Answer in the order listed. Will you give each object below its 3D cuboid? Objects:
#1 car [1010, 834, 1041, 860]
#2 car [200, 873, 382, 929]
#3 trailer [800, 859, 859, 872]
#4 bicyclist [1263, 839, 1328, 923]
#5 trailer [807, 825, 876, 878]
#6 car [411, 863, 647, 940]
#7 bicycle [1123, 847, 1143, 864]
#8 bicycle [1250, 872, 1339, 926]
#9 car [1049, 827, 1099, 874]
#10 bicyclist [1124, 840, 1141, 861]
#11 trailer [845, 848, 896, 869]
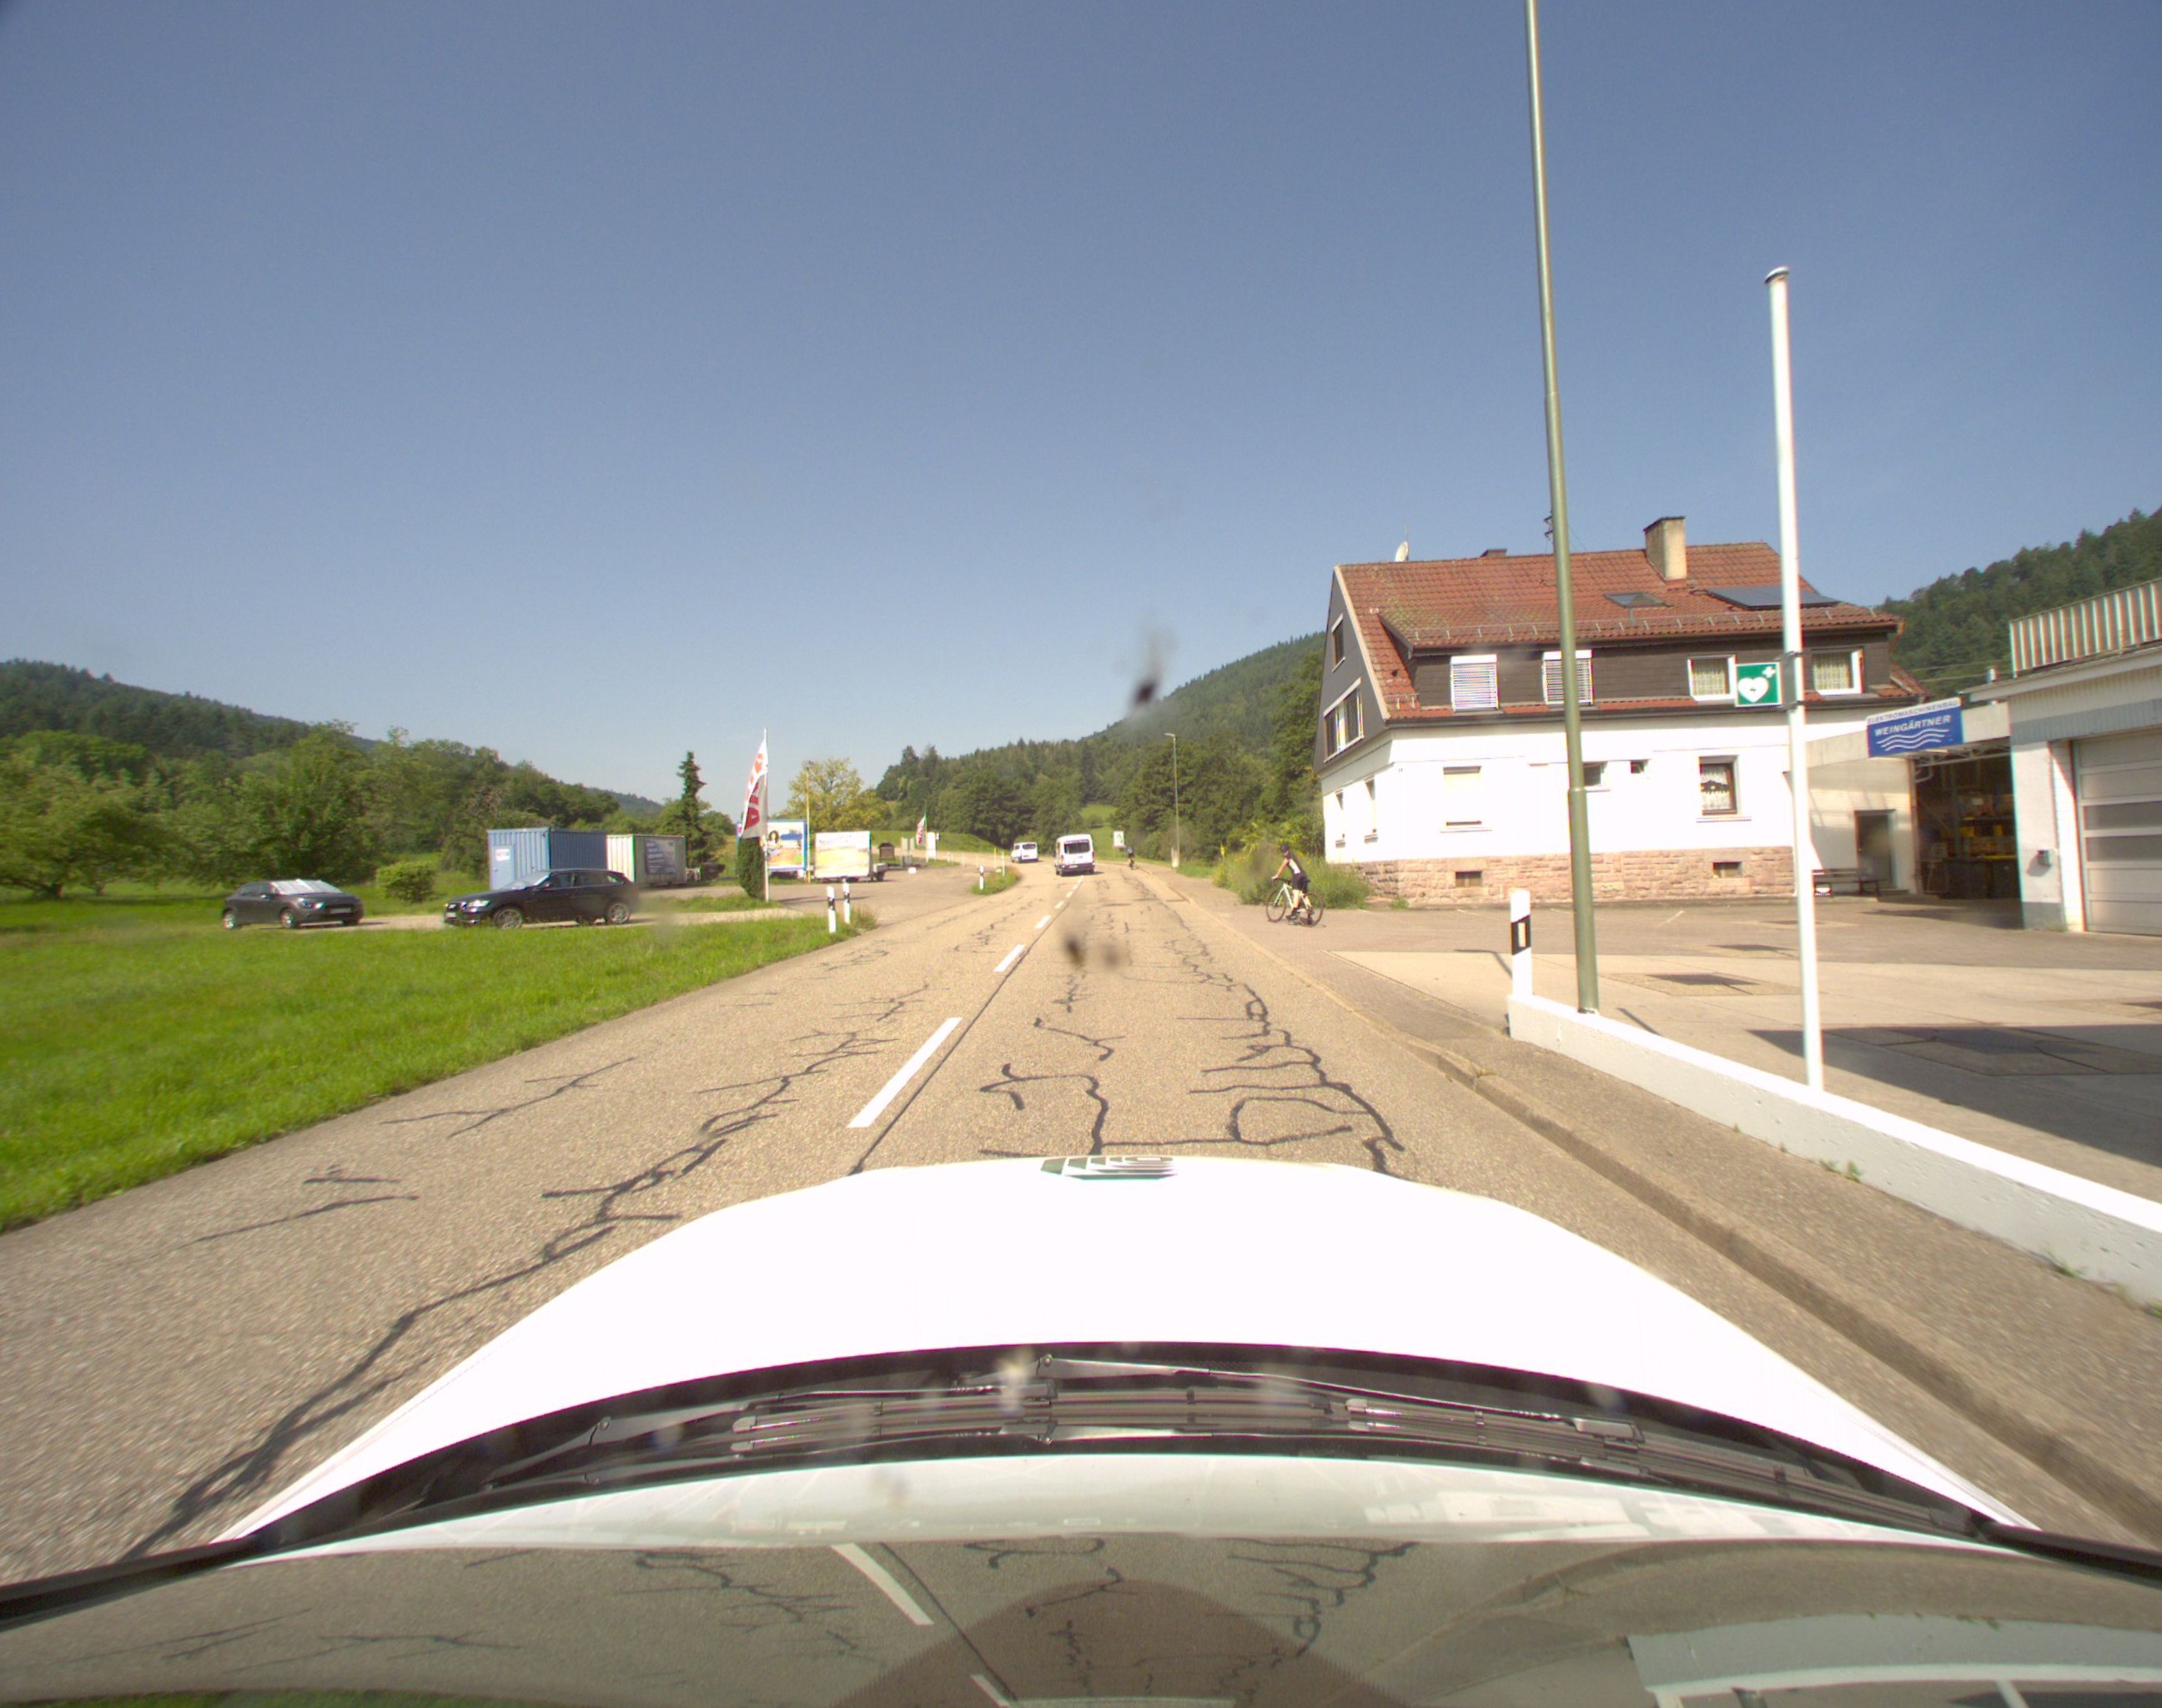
[{"bbox_3d":[-5.578,-0.720,81.490,2.225,2.286,4.963,-5,3,-13],"label":"car"},{"bbox_3d":[-24.017,1.422,24.834,3.898,1.485,1.922,-2,1,8],"label":"car"},{"bbox_3d":[-19.121,0.886,62.086,3.921,0.939,1.867,-1,-1,-1],"label":"trailer"},{"bbox_3d":[4.384,0.517,16.695,0.692,1.632,1.131,0,2,-26],"label":"bicyclist"},{"bbox_3d":[-13.546,-0.151,46.208,3.387,2.911,1.880,-1,0,-6],"label":"trailer"},{"bbox_3d":[-14.688,1.178,22.042,1.813,1.648,4.939,-1,1,29],"label":"car"},{"bbox_3d":[3.363,0.115,52.942,0.581,1.034,1.979,-6,2,-17],"label":"bicycle"},{"bbox_3d":[4.359,0.891,16.772,0.692,0.917,1.933,0,2,-26],"label":"bicycle"},{"bbox_3d":[-0.488,-0.287,50.558,2.222,2.525,4.971,-5,3,-8],"label":"car"},{"bbox_3d":[3.349,-0.226,52.962,0.581,1.342,1.139,-6,2,-17],"label":"bicyclist"},{"bbox_3d":[-13.191,0.262,51.397,1.989,1.226,5.540,-1,0,-3],"label":"trailer"}]
